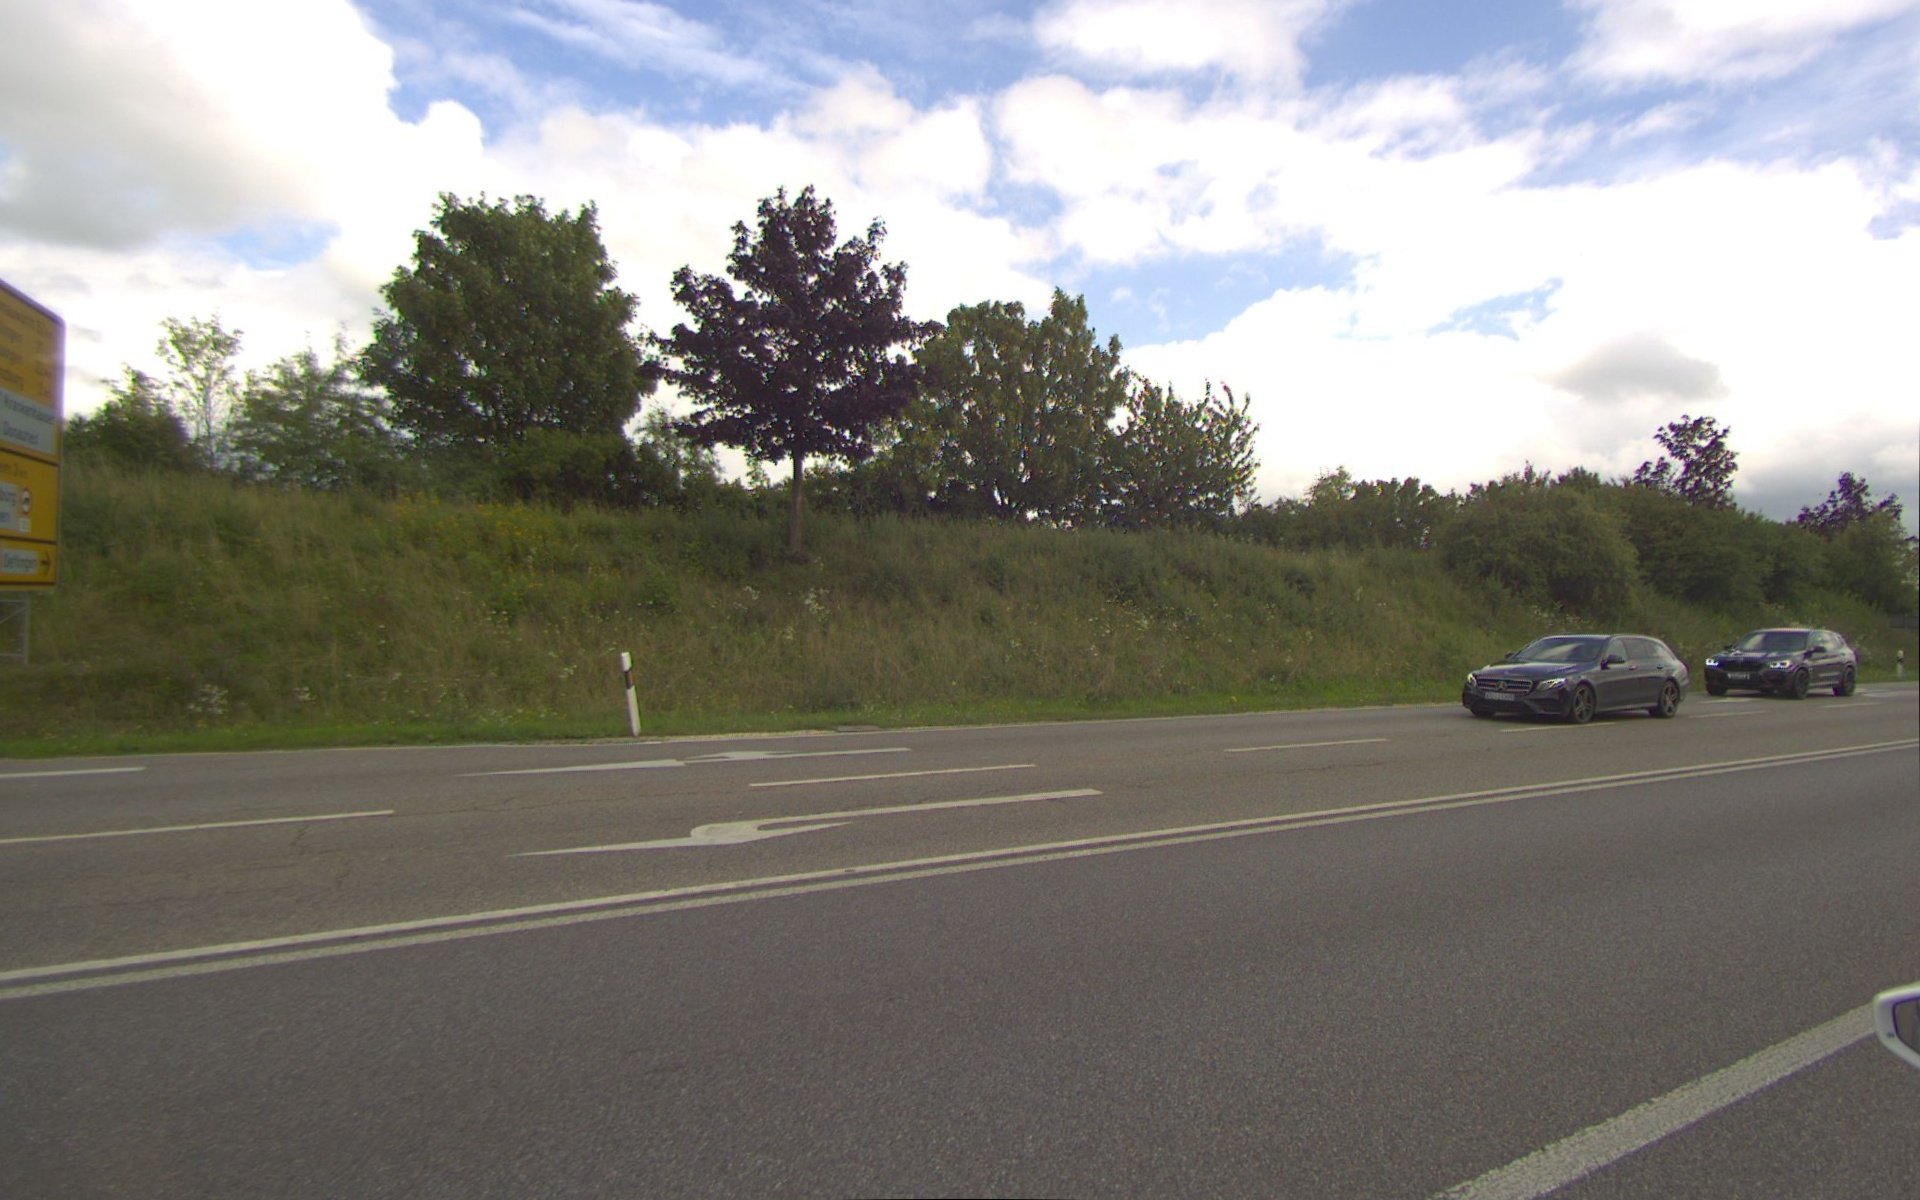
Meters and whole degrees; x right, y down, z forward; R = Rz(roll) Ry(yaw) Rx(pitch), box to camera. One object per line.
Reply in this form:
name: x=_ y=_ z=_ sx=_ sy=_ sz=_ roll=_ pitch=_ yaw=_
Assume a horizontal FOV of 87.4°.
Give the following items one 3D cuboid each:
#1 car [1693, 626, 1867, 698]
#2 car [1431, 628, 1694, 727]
car: x=20.744 y=1.513 z=25.360 sx=4.938 sy=1.632 sz=1.982 roll=2 pitch=-1 yaw=-33
car: x=10.772 y=1.302 z=17.862 sx=4.936 sy=1.514 sz=1.983 roll=2 pitch=-1 yaw=-32
